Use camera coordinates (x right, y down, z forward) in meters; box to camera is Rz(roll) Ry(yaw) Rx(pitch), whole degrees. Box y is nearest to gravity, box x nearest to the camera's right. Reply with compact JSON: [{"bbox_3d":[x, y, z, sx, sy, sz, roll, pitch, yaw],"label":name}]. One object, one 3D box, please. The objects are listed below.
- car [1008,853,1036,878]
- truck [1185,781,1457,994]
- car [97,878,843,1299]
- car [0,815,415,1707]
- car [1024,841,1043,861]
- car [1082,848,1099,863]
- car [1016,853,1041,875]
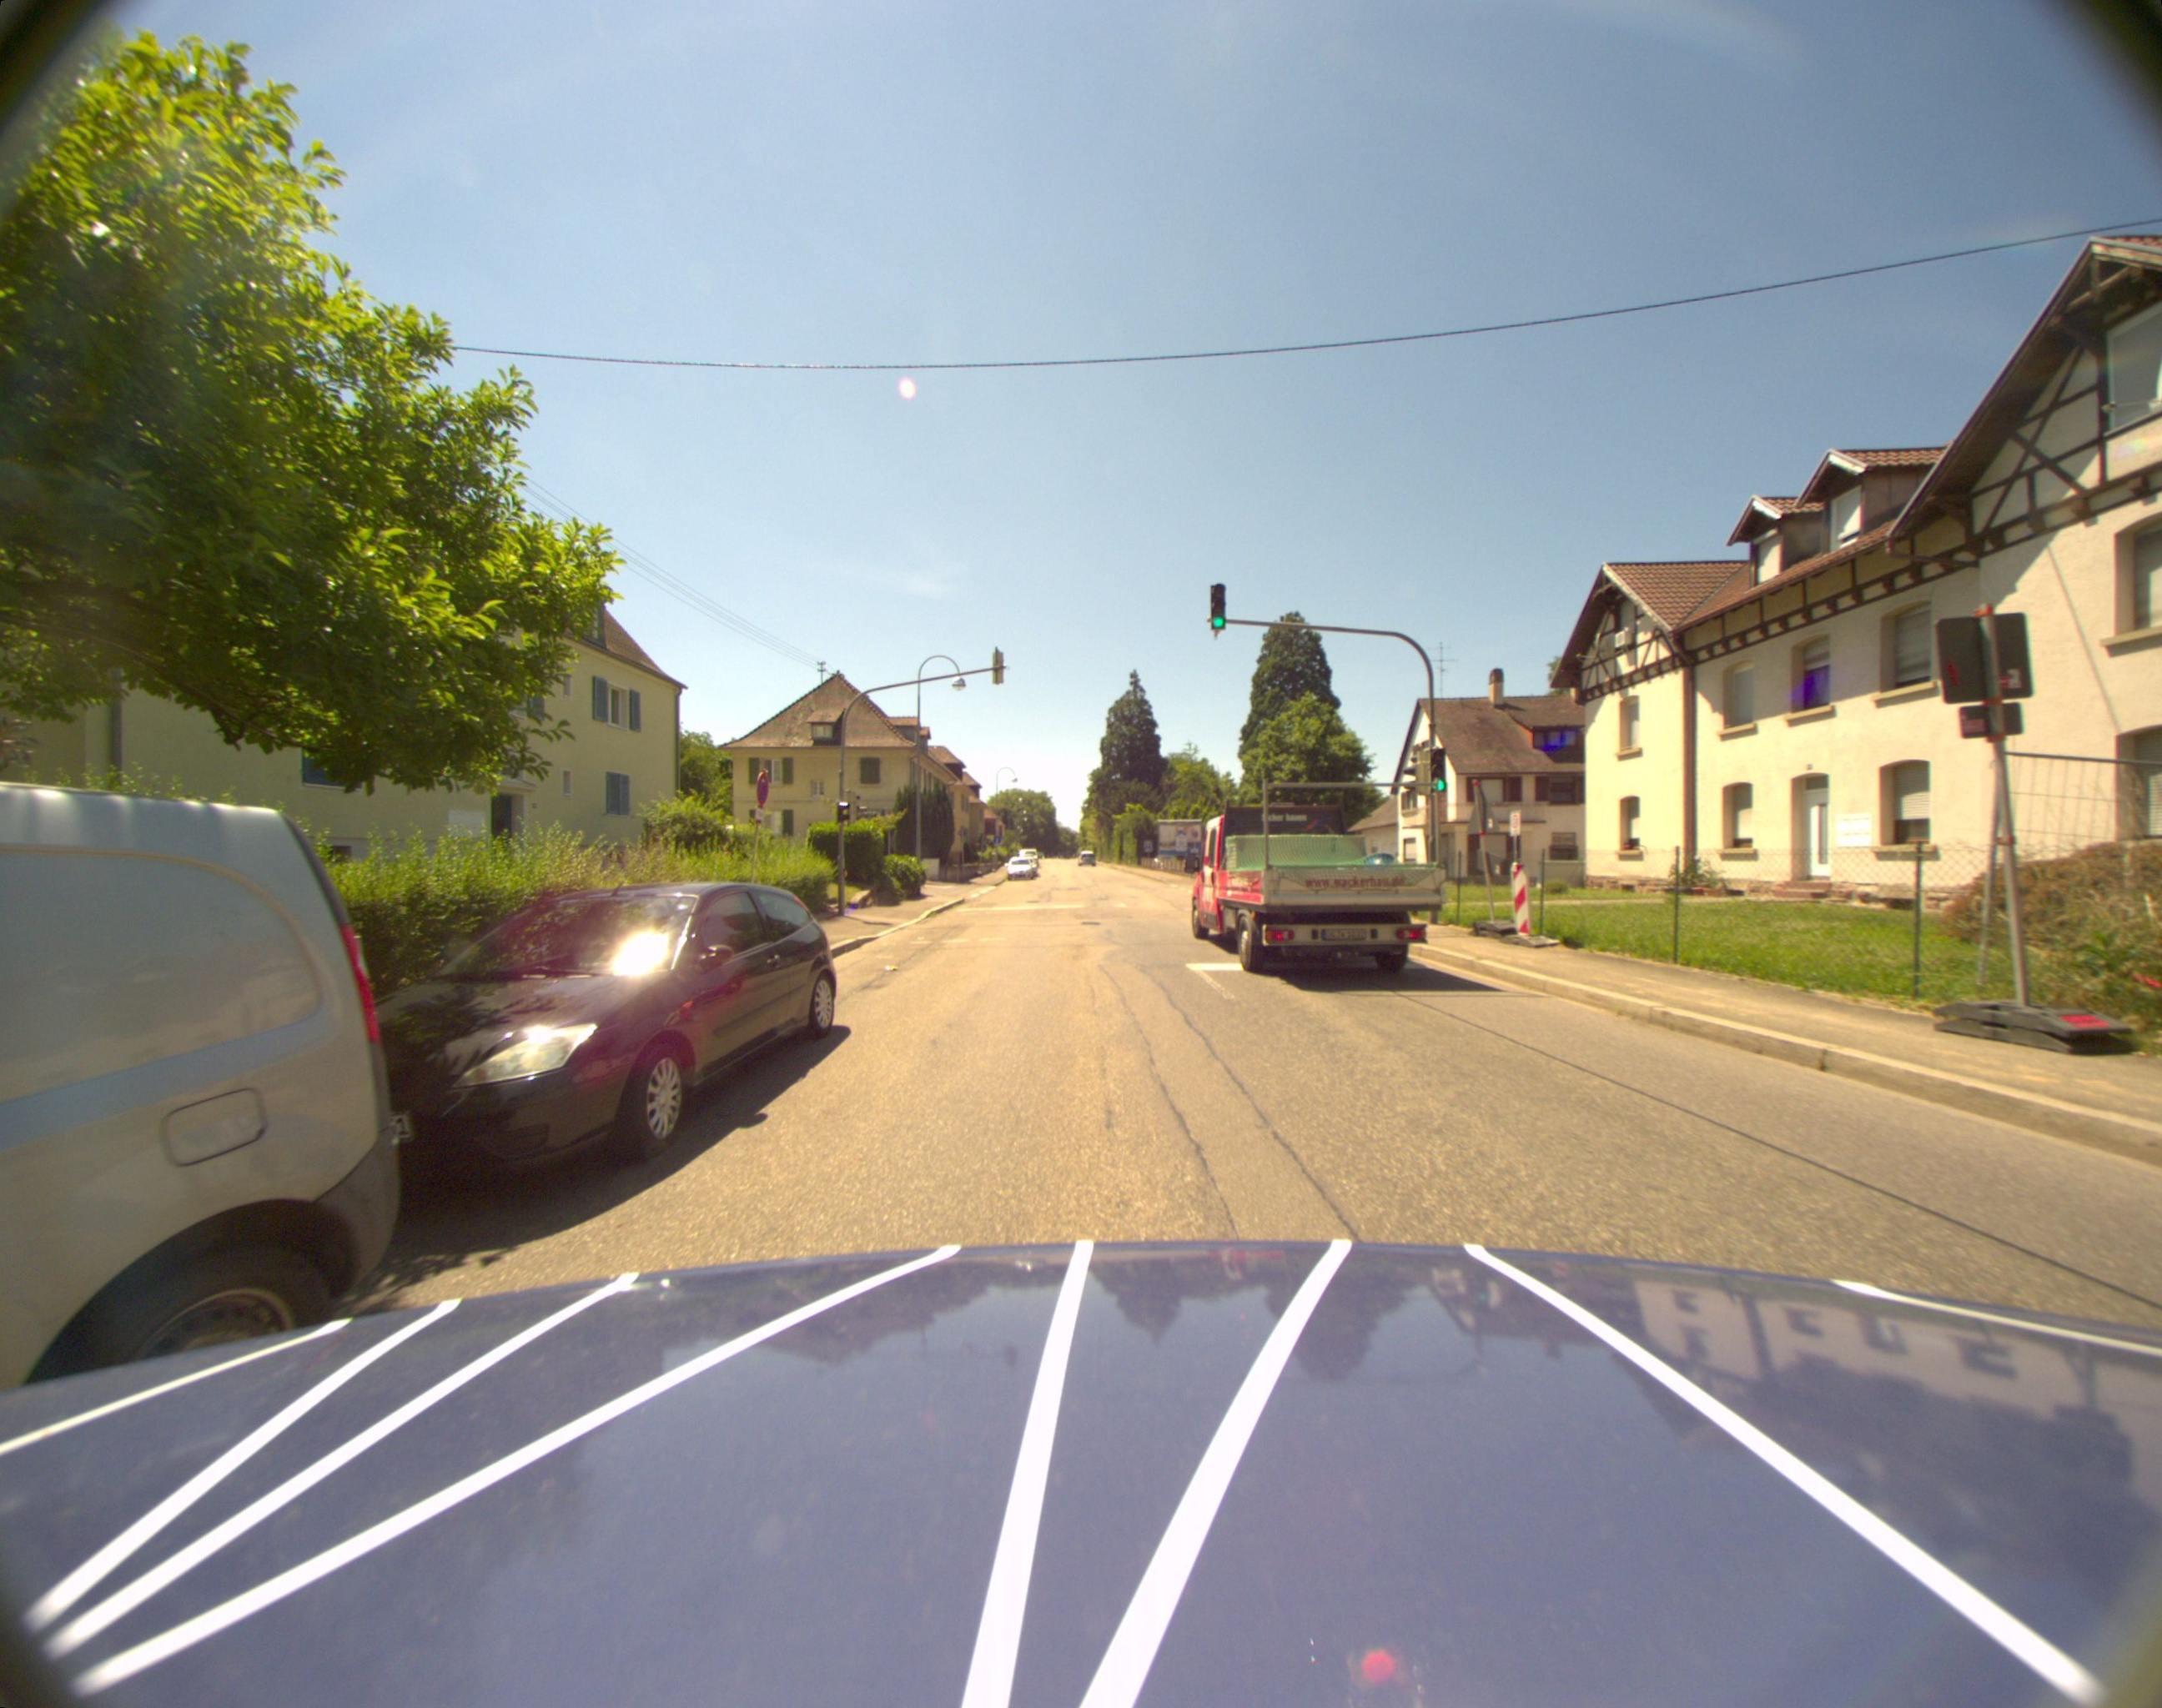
[{"bbox_3d":[-3.823,0.731,49.365,1.671,1.457,3.997,-1,1,-4],"label":"car"},{"bbox_3d":[3.086,0.373,11.591,2.133,2.325,6.434,1,0,0],"label":"truck"},{"bbox_3d":[-3.060,0.999,5.042,1.633,1.454,4.016,-3,0,0],"label":"car"},{"bbox_3d":[-2.995,0.870,0.246,1.666,1.793,4.203,-3,0,2],"label":"car"},{"bbox_3d":[-4.870,-0.368,77.607,1.852,1.859,4.687,-2,3,-3],"label":"car"},{"bbox_3d":[1.030,0.125,81.629,1.657,1.553,3.884,1,1,-1],"label":"car"},{"bbox_3d":[-3.685,0.676,54.030,1.671,1.427,3.998,-2,1,-3],"label":"car"}]
